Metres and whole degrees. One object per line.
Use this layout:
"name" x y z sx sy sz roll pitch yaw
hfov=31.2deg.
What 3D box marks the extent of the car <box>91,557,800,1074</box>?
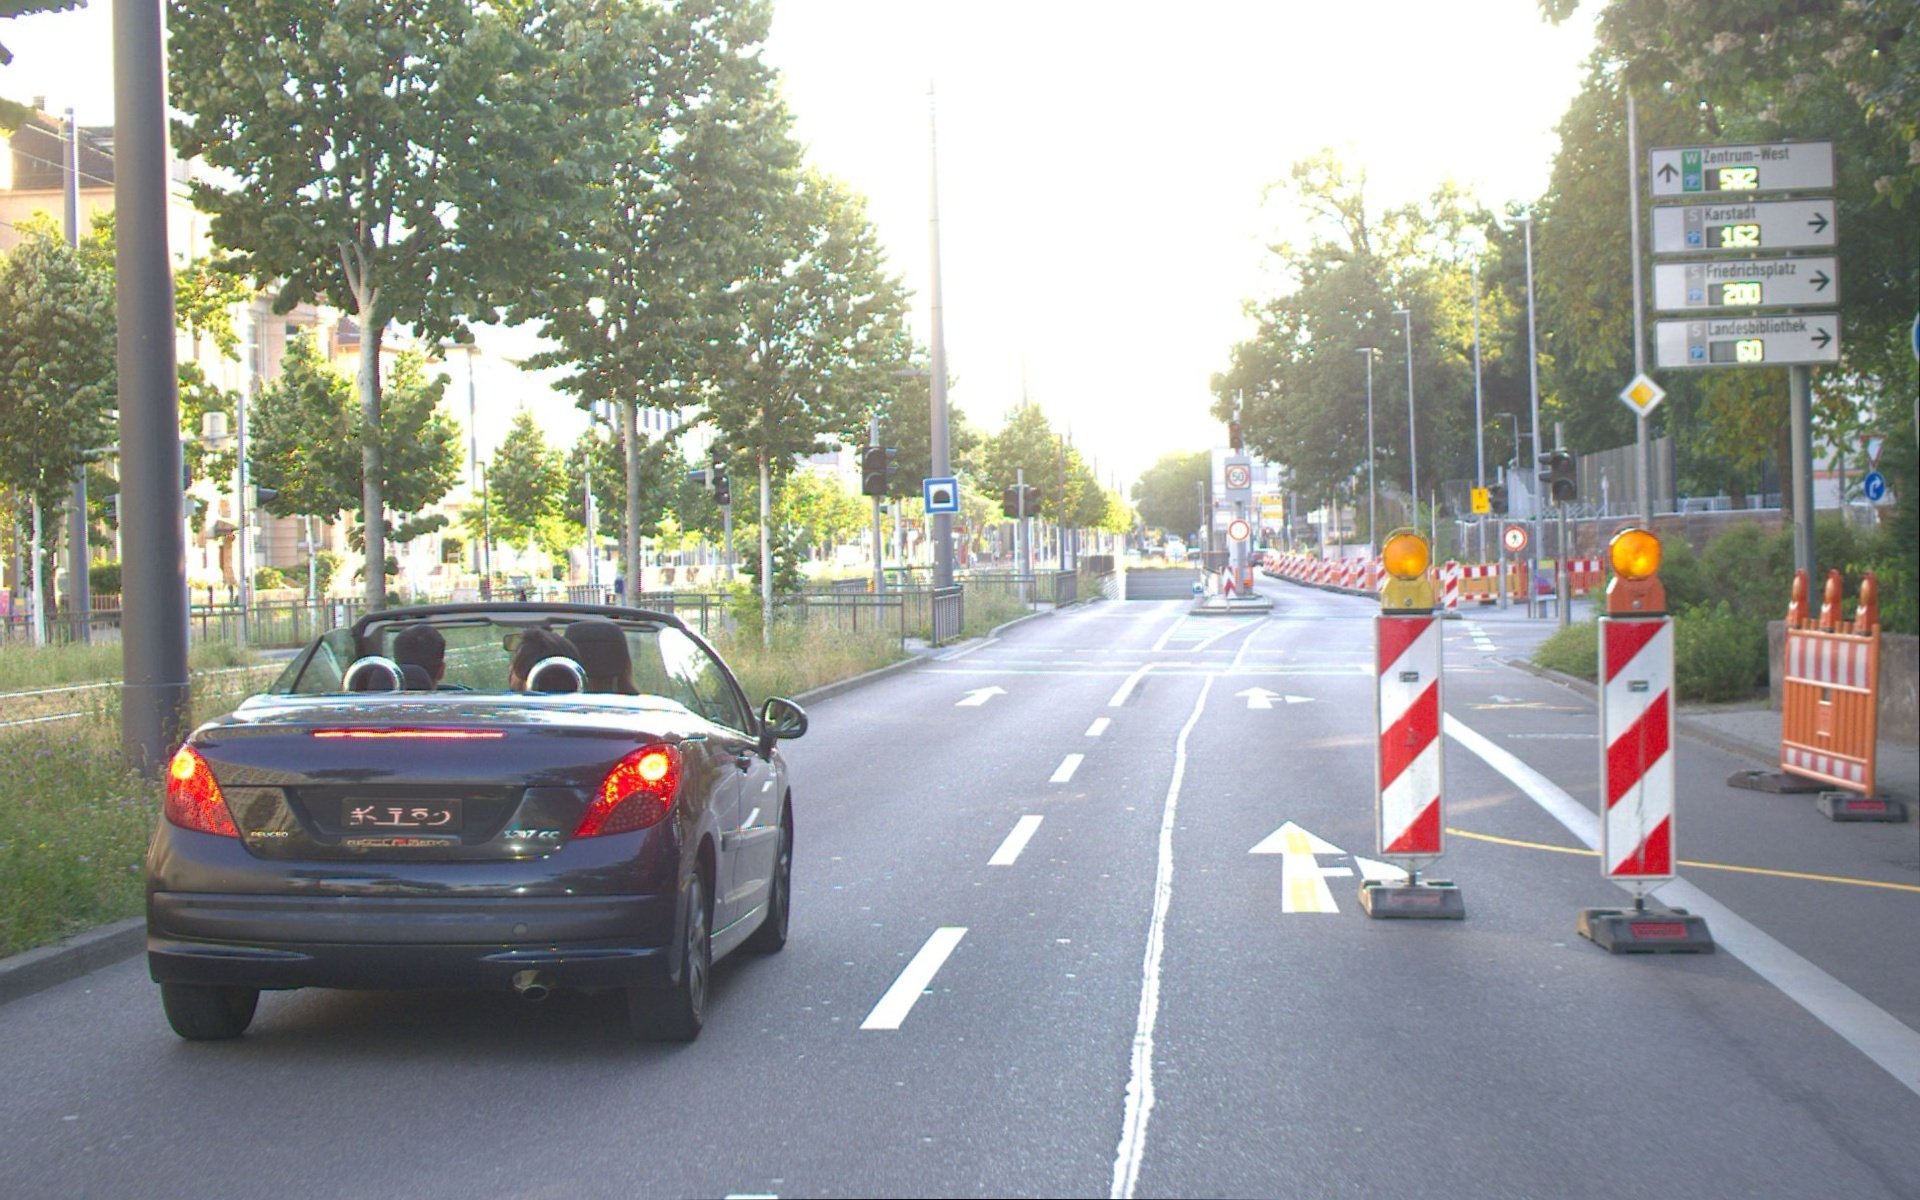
"car" -1.593 0.600 11.945 1.719 1.444 3.901 0 1 3
